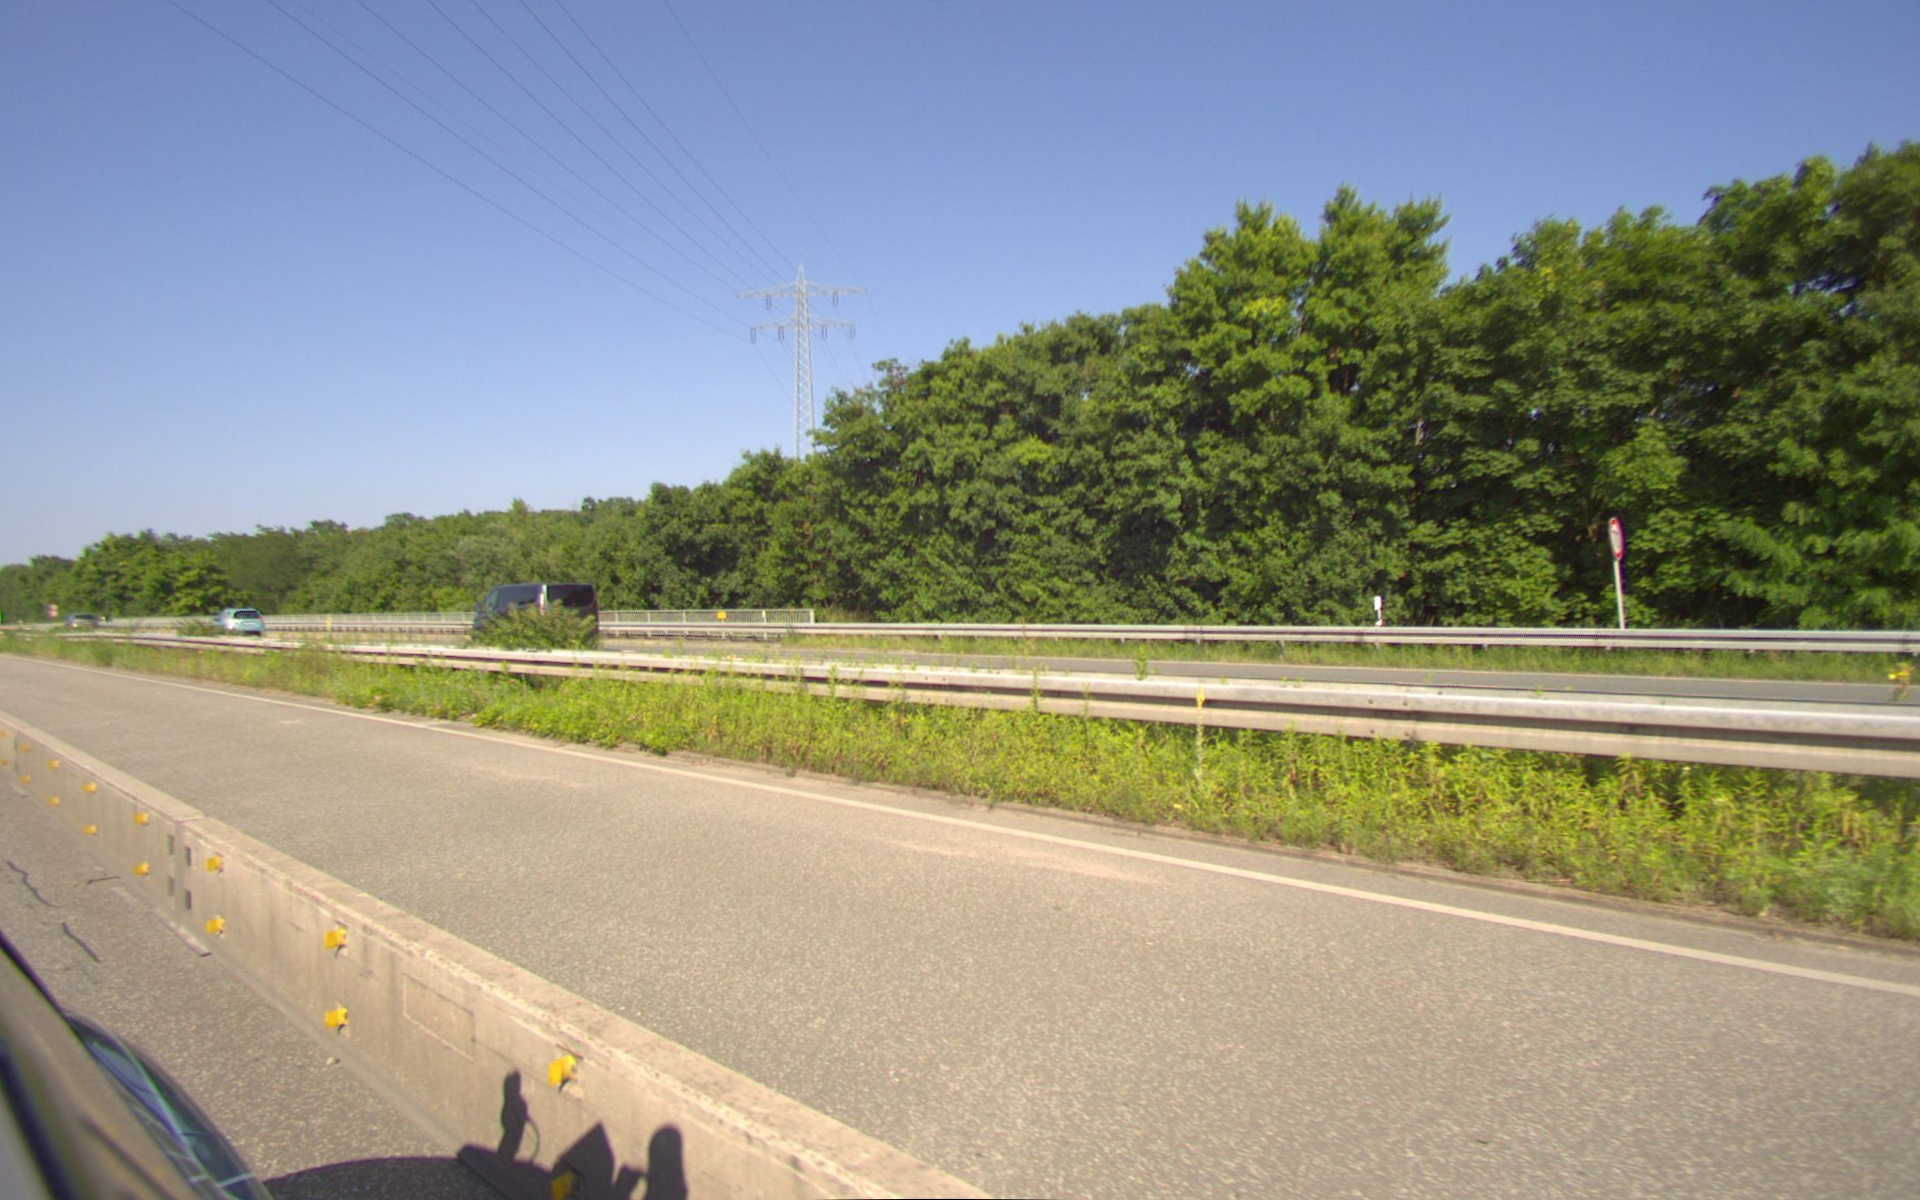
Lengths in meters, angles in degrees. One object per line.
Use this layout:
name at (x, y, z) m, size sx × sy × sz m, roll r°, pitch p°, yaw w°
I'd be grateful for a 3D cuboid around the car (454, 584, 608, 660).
car at (-12.597, 0.635, 29.548) m, size 5.163 × 2.050 × 1.974 m, roll -1°, pitch -1°, yaw 39°

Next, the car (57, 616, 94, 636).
car at (-71.317, 2.065, 81.582) m, size 4.420 × 1.595 × 1.745 m, roll -1°, pitch -1°, yaw 41°

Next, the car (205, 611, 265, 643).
car at (-36.520, 1.339, 50.978) m, size 3.816 × 1.542 × 1.630 m, roll -1°, pitch -1°, yaw 41°
